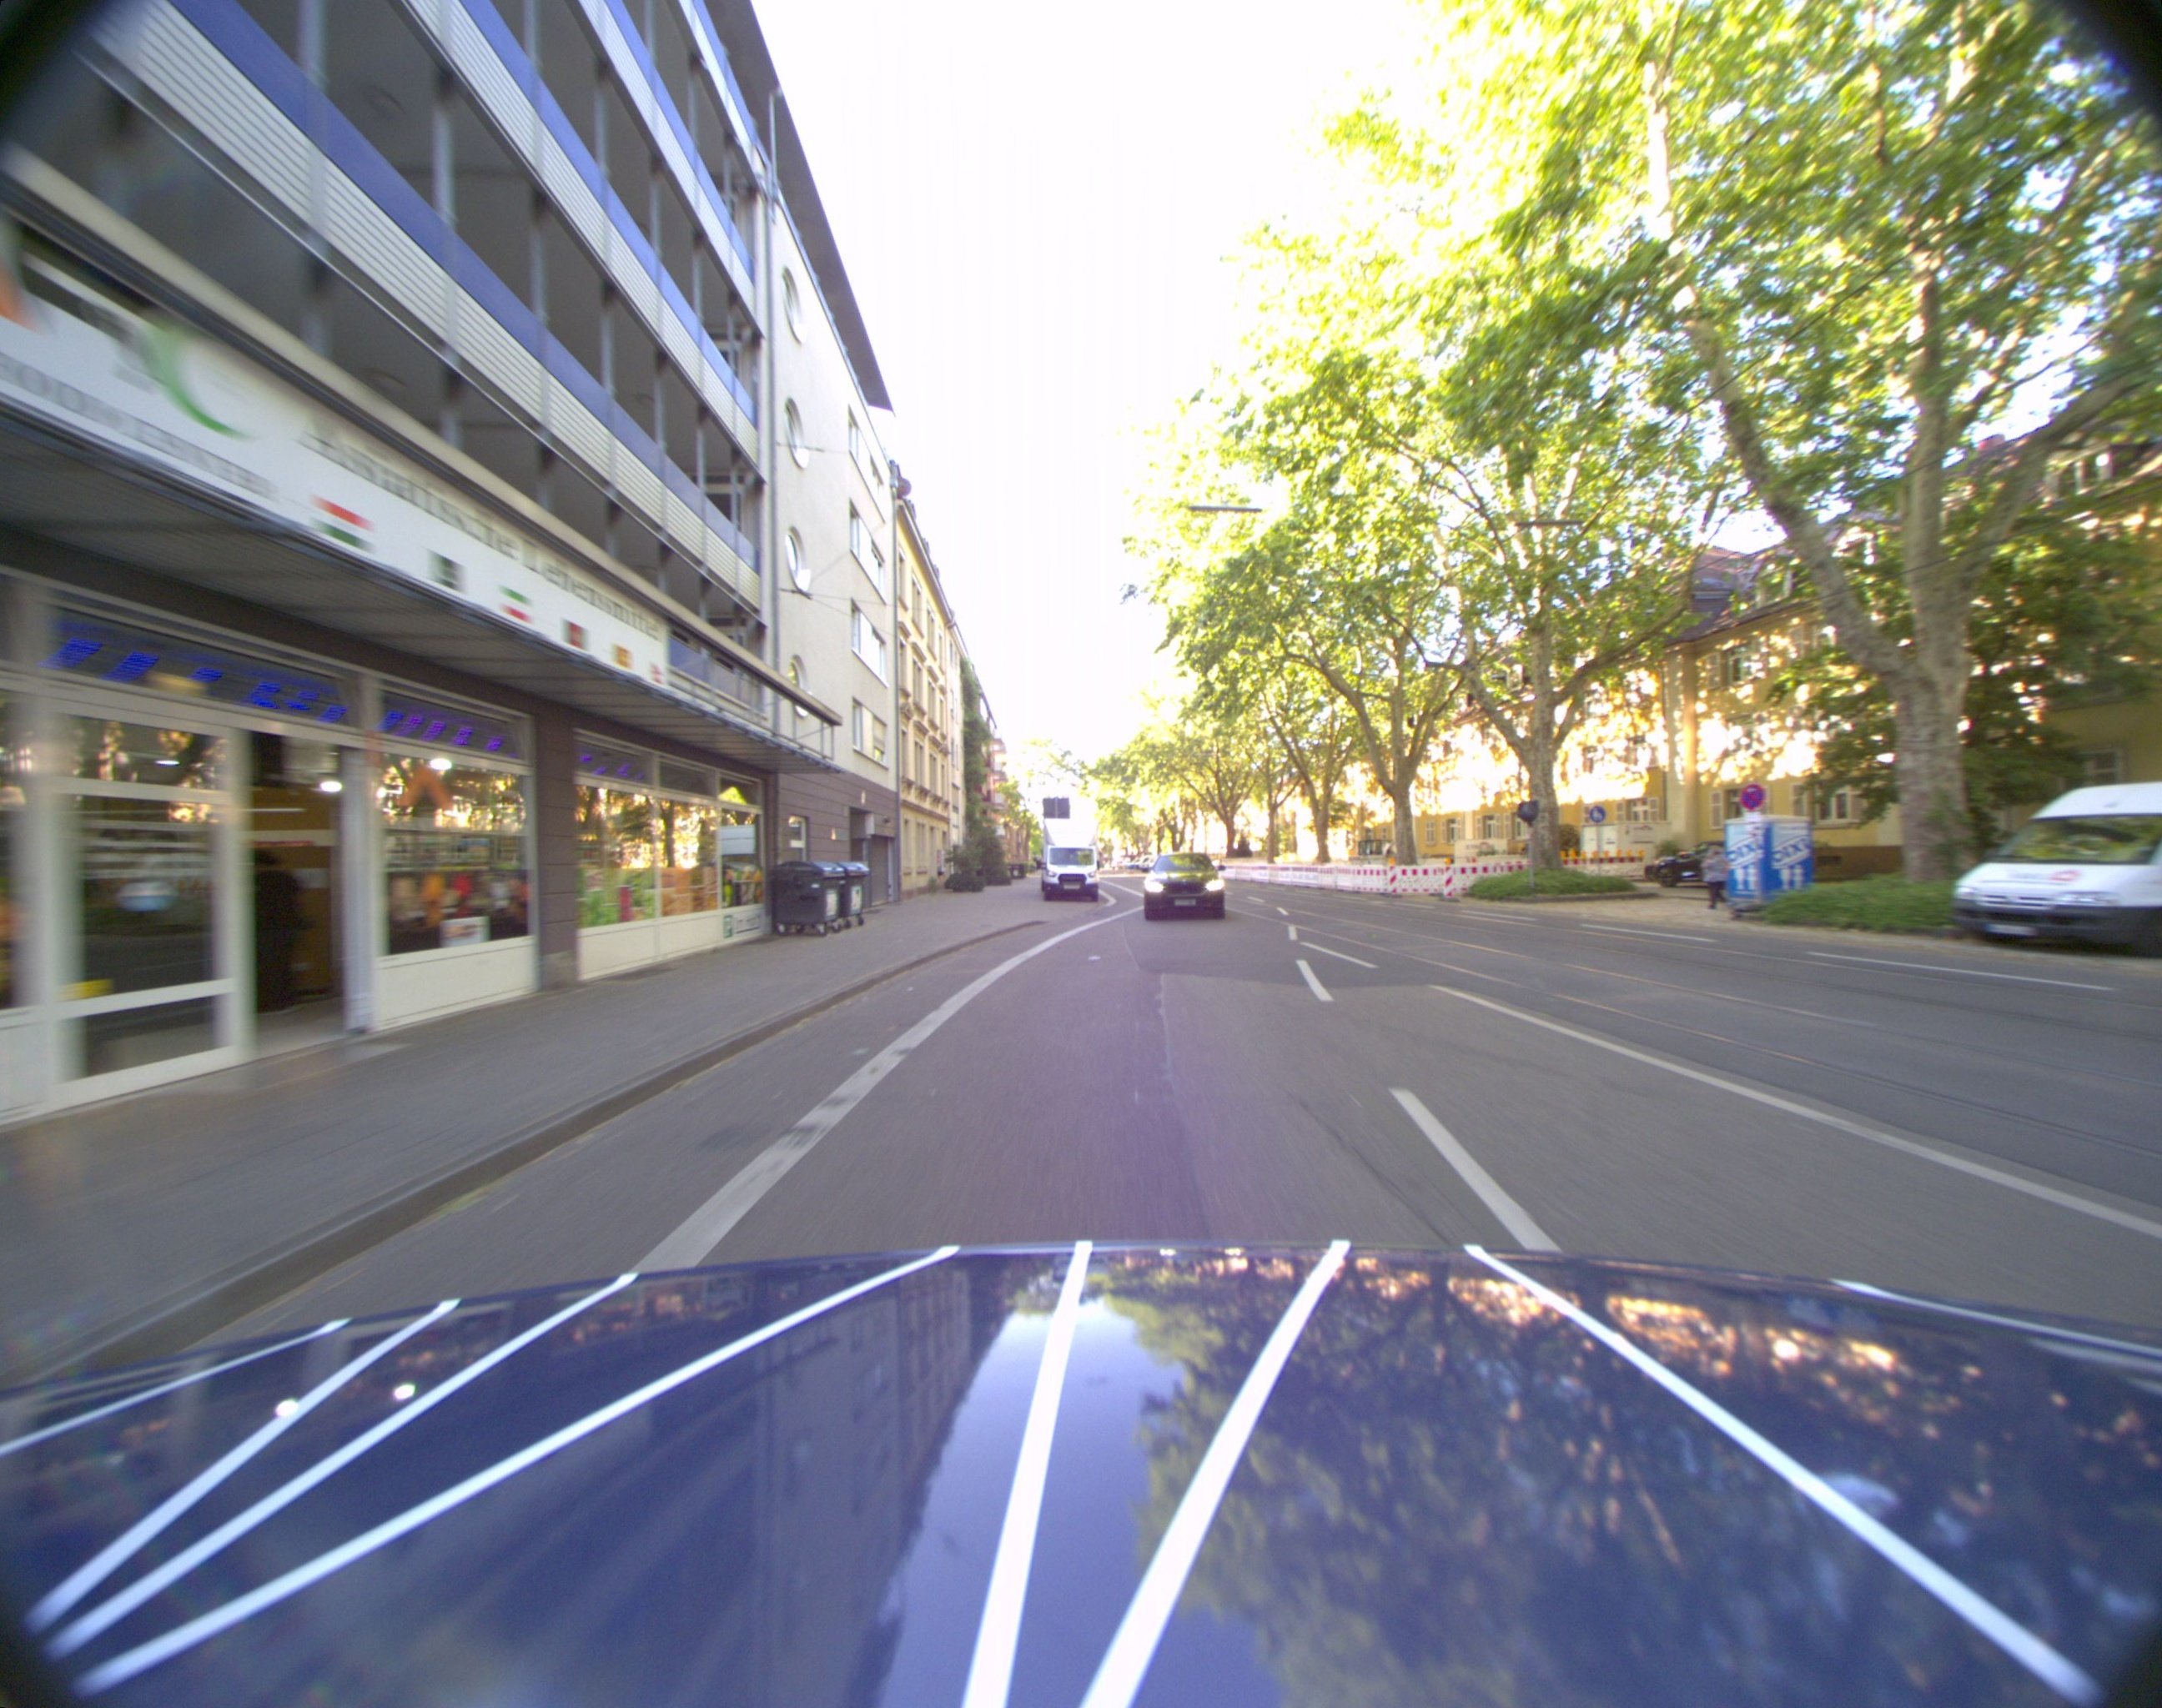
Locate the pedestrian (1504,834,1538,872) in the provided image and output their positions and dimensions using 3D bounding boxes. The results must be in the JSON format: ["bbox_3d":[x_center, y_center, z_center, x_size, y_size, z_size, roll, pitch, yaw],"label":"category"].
[{"bbox_3d":[24.170,-0.062,41.742,1.098,2.002,1.235,-1,0,-4],"label":"pedestrian"}]

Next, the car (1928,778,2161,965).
[{"bbox_3d":[15.829,0.174,10.720,5.612,2.362,2.025,-1,0,-2],"label":"car"}]

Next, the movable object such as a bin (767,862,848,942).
[{"bbox_3d":[-5.231,0.898,14.622,1.069,1.438,1.296,-1,0,0],"label":"movable object such as a bin"}]

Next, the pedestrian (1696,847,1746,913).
[{"bbox_3d":[15.601,0.615,18.541,0.597,1.563,0.716,-1,0,-18],"label":"pedestrian"}]

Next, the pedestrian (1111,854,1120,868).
[{"bbox_3d":[3.830,0.811,84.728,0.749,1.533,0.865,-1,0,-21],"label":"pedestrian"}]

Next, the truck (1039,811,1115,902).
[{"bbox_3d":[-0.377,0.100,31.426,2.385,3.166,8.525,2,0,-5],"label":"truck"}]

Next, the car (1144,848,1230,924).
[{"bbox_3d":[2.732,0.755,20.099,1.942,1.733,4.477,-2,0,6],"label":"car"}]

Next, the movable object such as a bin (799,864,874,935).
[{"bbox_3d":[-5.282,0.965,16.518,1.122,1.437,1.306,-1,0,4],"label":"movable object such as a bin"}]

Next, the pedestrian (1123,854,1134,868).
[{"bbox_3d":[5.241,0.753,83.303,0.889,1.533,0.946,-1,0,-21],"label":"pedestrian"}]

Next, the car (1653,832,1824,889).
[{"bbox_3d":[20.972,0.190,24.507,1.829,1.592,4.221,-3,0,1],"label":"car"}]
